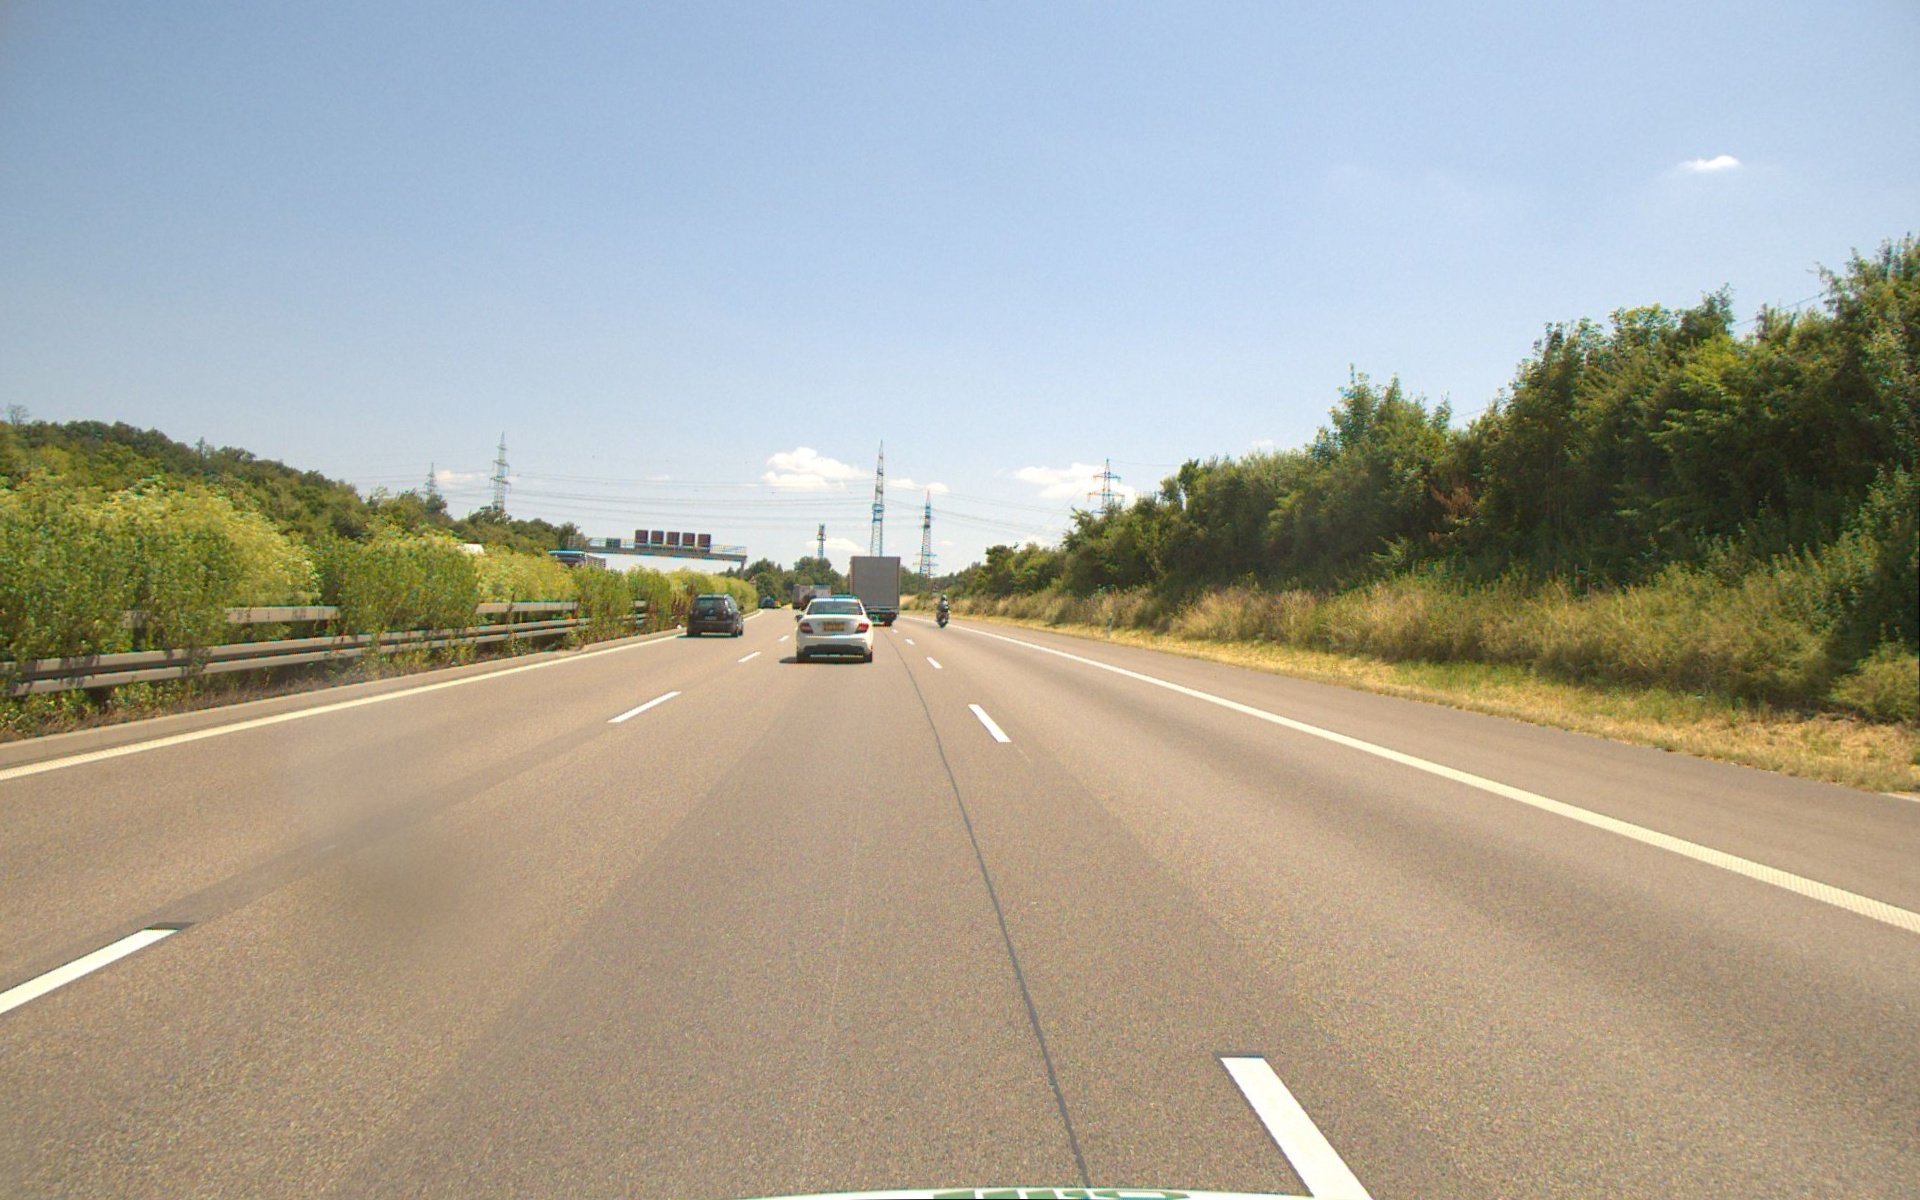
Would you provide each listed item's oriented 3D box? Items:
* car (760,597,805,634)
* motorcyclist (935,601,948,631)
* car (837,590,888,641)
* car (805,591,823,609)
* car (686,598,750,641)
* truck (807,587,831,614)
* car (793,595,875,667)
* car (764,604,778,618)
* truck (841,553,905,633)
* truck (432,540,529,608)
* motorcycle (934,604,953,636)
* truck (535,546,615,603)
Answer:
[{"bbox_3d":[-8.176,0.702,76.444,1.802,1.567,3.912,2,0,-4],"label":"car"},{"bbox_3d":[-0.956,0.826,86.094,0.561,1.505,0.699,1,0,-8],"label":"motorcyclist"},{"bbox_3d":[-4.144,0.623,69.684,1.955,2.049,3.995,1,0,-6],"label":"car"},{"bbox_3d":[-15.908,-0.016,180.620,1.864,1.959,3.997,1,0,-4],"label":"car"},{"bbox_3d":[-8.533,0.673,58.569,1.720,1.454,4.000,1,0,-1],"label":"car"},{"bbox_3d":[-21.421,0.137,250.436,3.417,3.981,7.279,1,0,-6],"label":"truck"},{"bbox_3d":[-2.868,0.682,38.333,1.783,1.567,3.912,1,0,-3],"label":"car"},{"bbox_3d":[-26.493,1.571,231.921,1.955,1.892,3.996,1,0,-5],"label":"car"},{"bbox_3d":[-4.752,-0.306,88.515,3.158,3.993,9.052,1,0,-4],"label":"truck"},{"bbox_3d":[-26.967,-1.400,93.795,2.411,3.516,14.673,1,0,-5],"label":"truck"},{"bbox_3d":[-0.866,1.047,86.226,0.794,1.635,1.779,1,-1,-7],"label":"motorcycle"},{"bbox_3d":[-27.969,-1.810,121.210,3.168,3.674,18.508,4,0,-6],"label":"truck"}]
